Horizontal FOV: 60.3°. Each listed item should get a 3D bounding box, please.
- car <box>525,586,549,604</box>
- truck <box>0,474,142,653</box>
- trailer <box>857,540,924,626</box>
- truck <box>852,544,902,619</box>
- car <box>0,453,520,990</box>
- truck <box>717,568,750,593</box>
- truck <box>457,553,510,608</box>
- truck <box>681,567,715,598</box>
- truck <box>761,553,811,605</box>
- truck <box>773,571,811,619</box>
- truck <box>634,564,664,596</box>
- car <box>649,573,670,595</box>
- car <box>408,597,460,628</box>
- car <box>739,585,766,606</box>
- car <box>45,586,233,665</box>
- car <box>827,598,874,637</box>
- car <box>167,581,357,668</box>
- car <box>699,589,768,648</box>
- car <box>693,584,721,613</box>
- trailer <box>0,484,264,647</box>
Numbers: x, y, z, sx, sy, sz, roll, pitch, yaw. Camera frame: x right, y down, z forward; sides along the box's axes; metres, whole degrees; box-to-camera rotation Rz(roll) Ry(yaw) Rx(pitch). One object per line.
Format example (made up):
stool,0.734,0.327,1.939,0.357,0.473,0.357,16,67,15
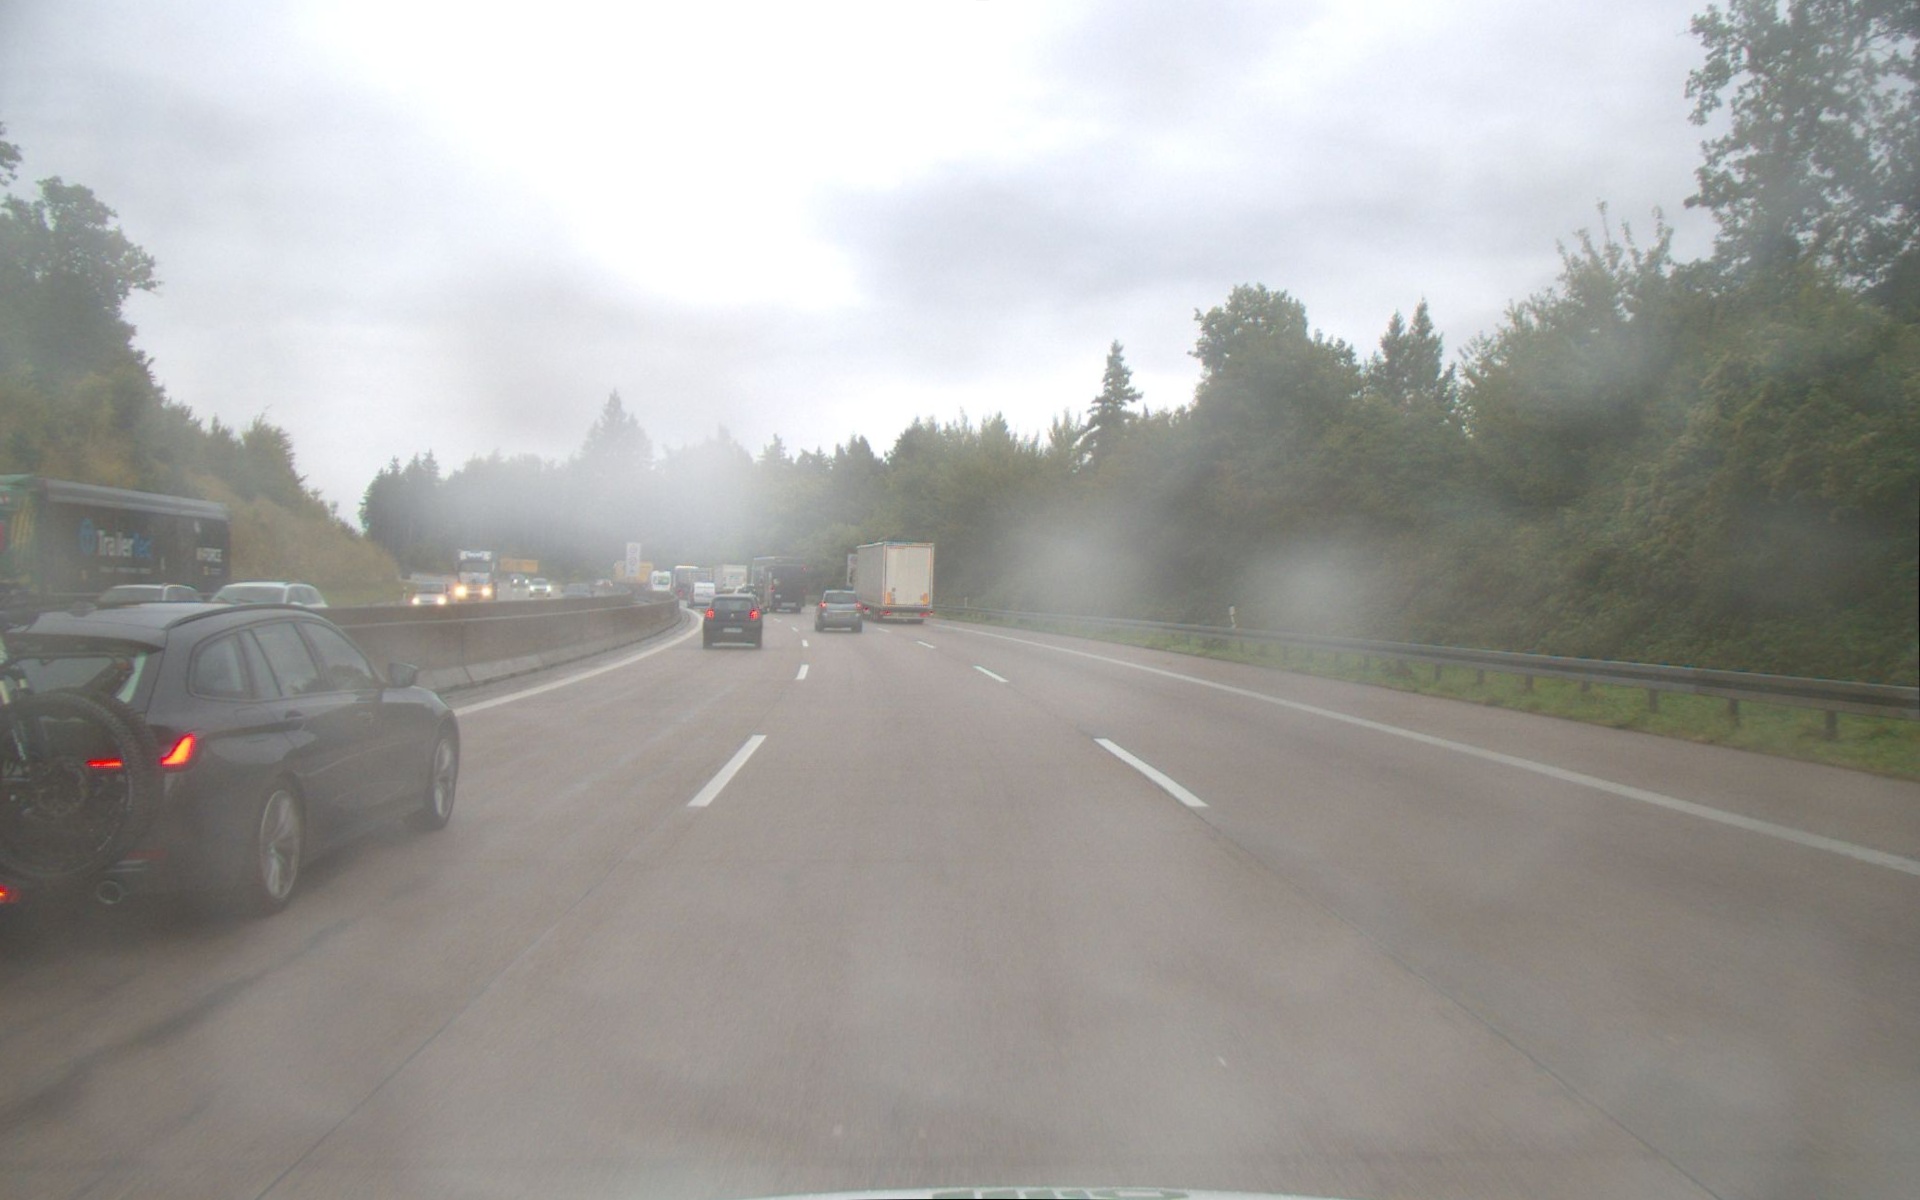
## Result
car,-38.875,-0.436,152.126,1.699,1.603,4.235,0,0,-9
truck,-23.404,-0.847,40.840,2.869,4.030,8.111,0,0,-4
trailer,-3.758,-0.930,87.151,2.374,4.139,12.035,1,1,-8
truck,-4.782,-1.083,94.667,2.374,4.139,4.970,1,1,-8
car,-4.003,0.438,9.149,1.870,1.979,6.157,0,0,-4
truck,-23.784,-2.043,173.486,2.922,2.349,6.649,3,0,-11
truck,-35.959,-1.441,125.075,2.853,3.957,7.350,1,0,-9
truck,-26.454,-1.779,167.005,3.028,2.956,7.882,1,1,-11
truck,-15.043,-1.839,142.348,3.309,4.203,10.410,1,1,-11
truck,-11.306,-0.389,111.630,2.225,2.937,7.897,2,1,-4
truck,-42.946,-2.741,228.102,3.677,4.283,6.792,0,0,-15
car,-29.756,-1.566,163.831,1.957,2.095,3.991,0,0,-9
car,-27.167,0.632,85.511,1.697,1.519,3.996,0,0,-5
car,-15.890,-0.383,127.011,1.845,1.498,3.996,3,0,-5
car,-18.136,0.527,36.799,1.953,1.612,4.770,0,0,-2
car,-4.353,0.670,65.364,1.525,1.375,3.677,3,0,-8
car,-13.907,0.447,33.298,1.953,1.612,4.770,0,0,-2
car,-6.211,0.476,45.576,1.651,1.487,3.679,3,0,-6
car,-18.227,-0.085,119.185,1.692,2.049,3.653,0,0,-5
trailer,-23.887,-0.881,47.610,2.869,4.030,13.452,0,0,-4
